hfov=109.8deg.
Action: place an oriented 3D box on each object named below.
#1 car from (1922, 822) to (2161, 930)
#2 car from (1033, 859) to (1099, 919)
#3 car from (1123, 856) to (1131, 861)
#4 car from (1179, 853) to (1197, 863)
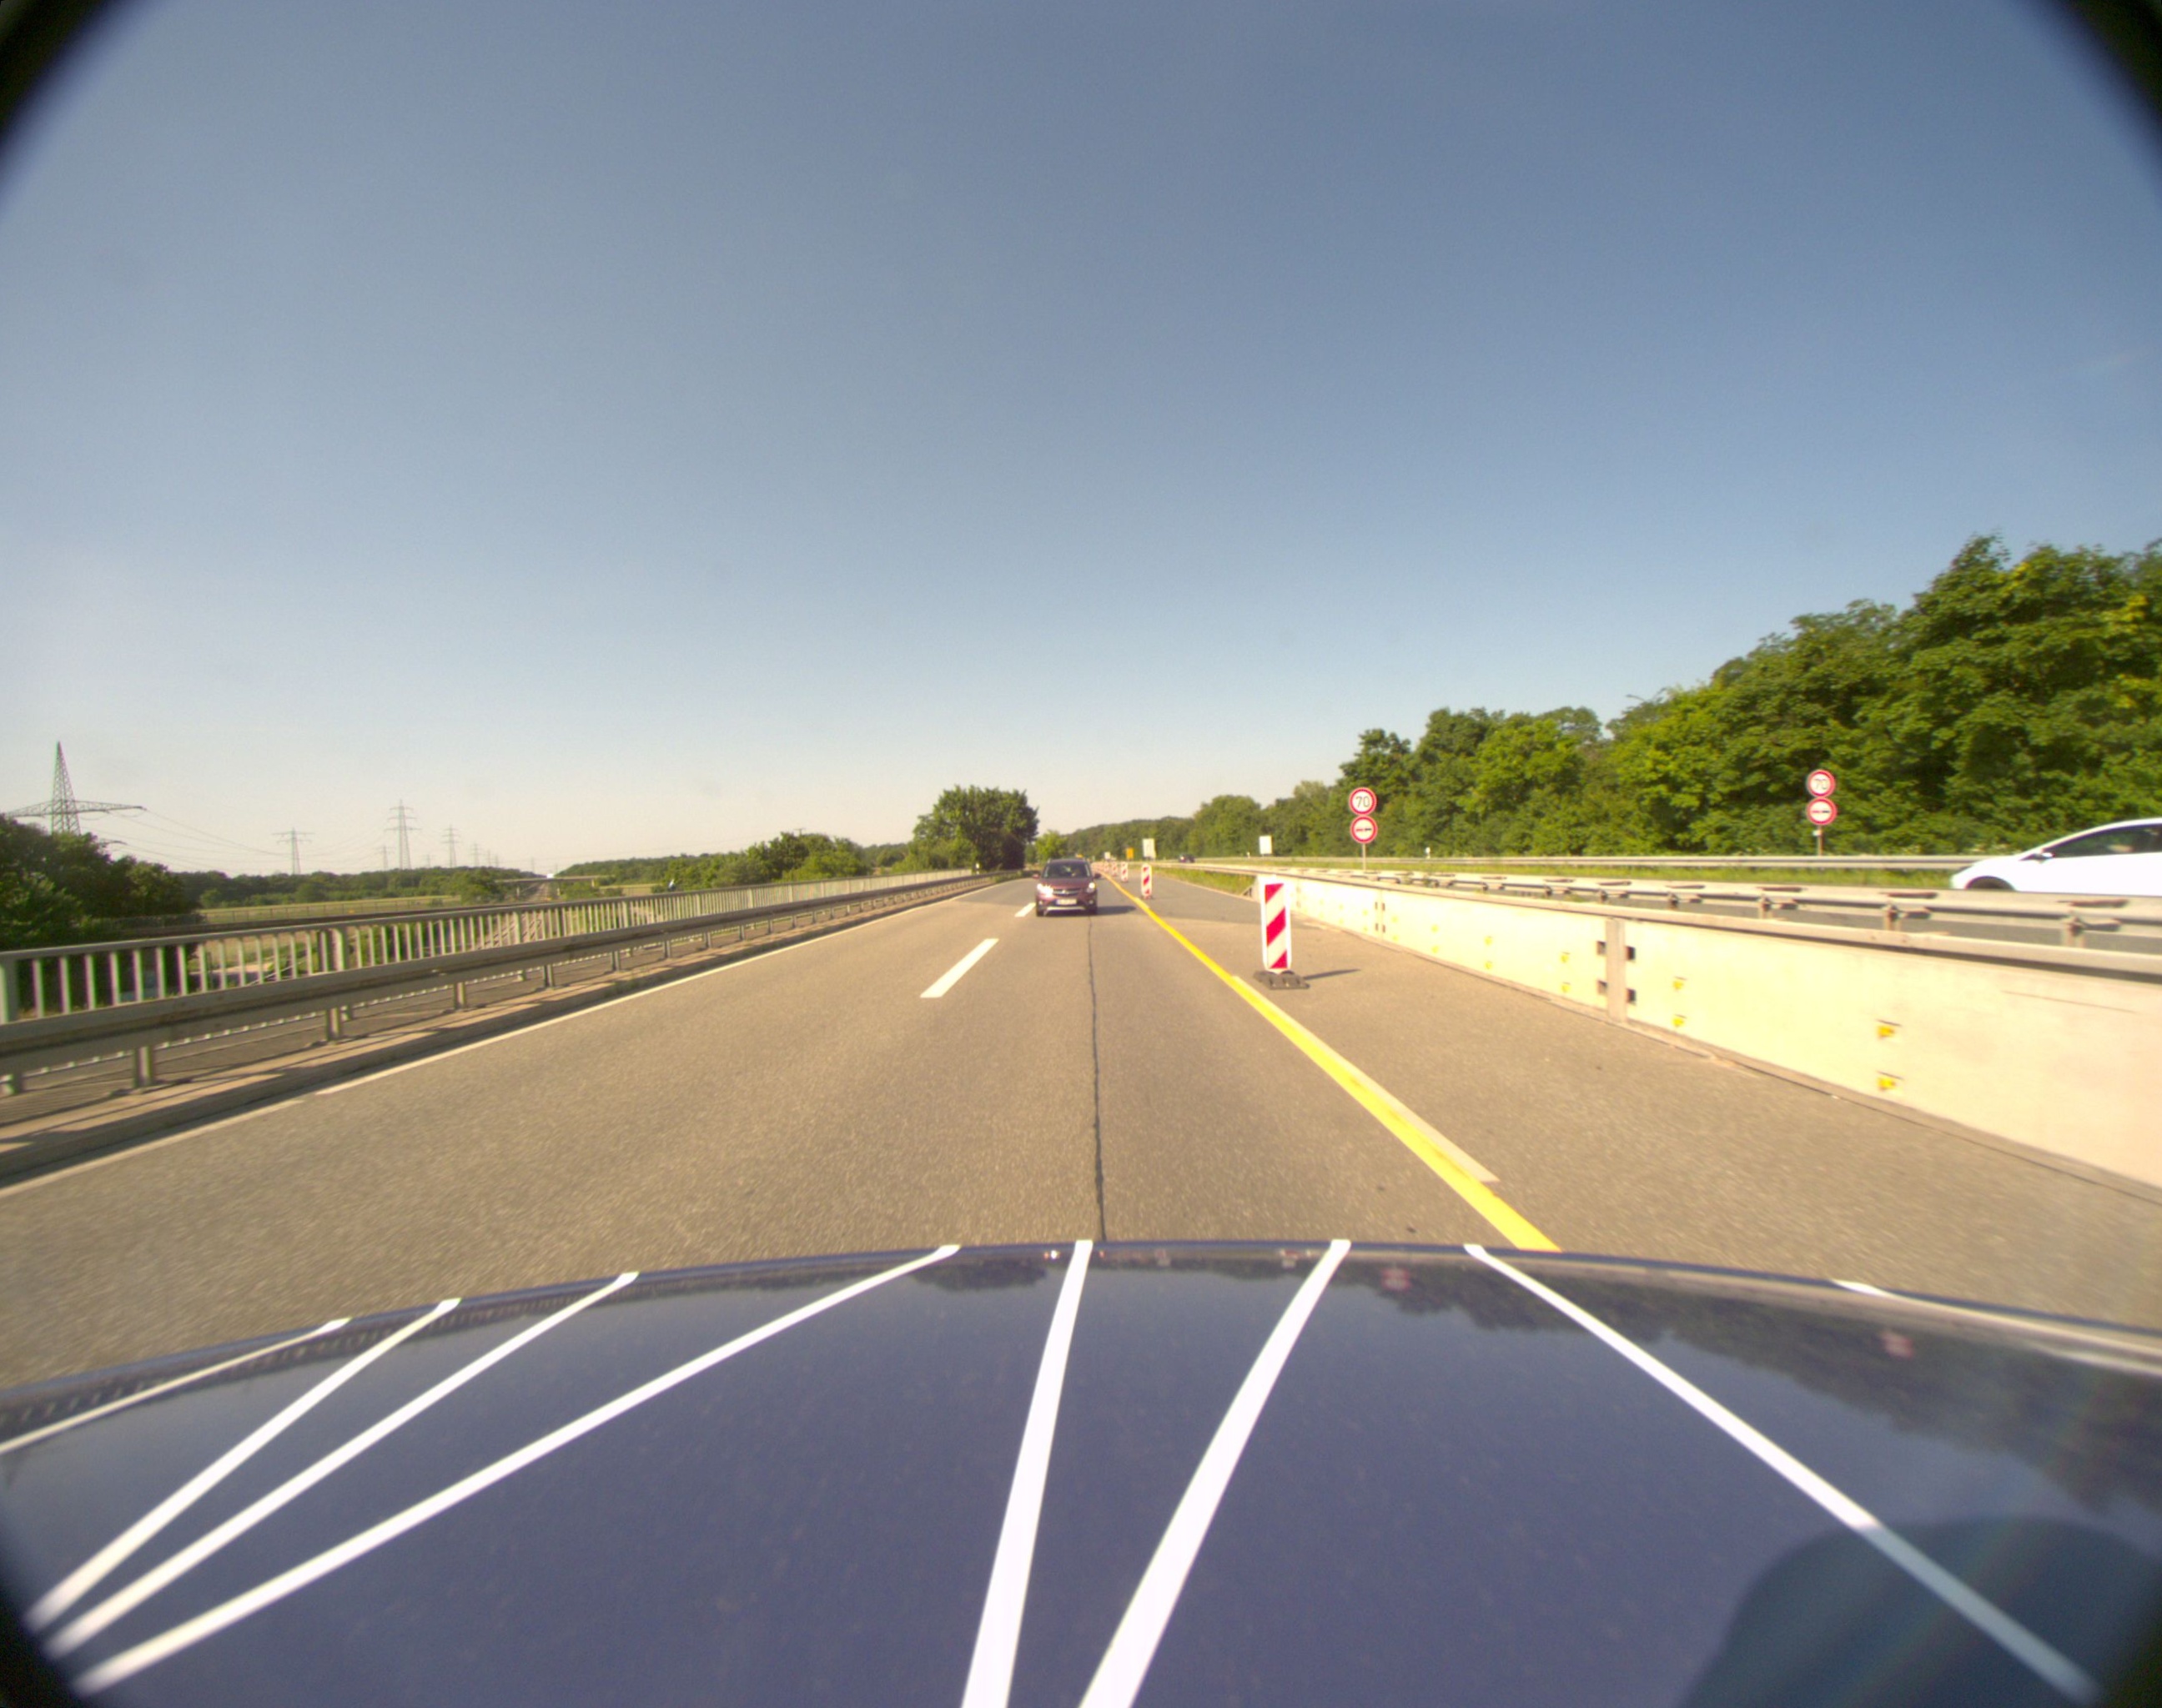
[{"bbox_3d":[14.495,0.255,10.019,1.744,1.331,4.551,-2,0,0],"label":"car"},{"bbox_3d":[-0.327,0.905,21.413,1.587,1.491,4.416,-1,0,2],"label":"car"},{"bbox_3d":[13.248,1.282,220.044,1.999,1.537,3.999,-2,0,0],"label":"car"},{"bbox_3d":[13.087,0.449,92.820,1.595,1.140,3.768,-3,0,-1],"label":"car"}]
